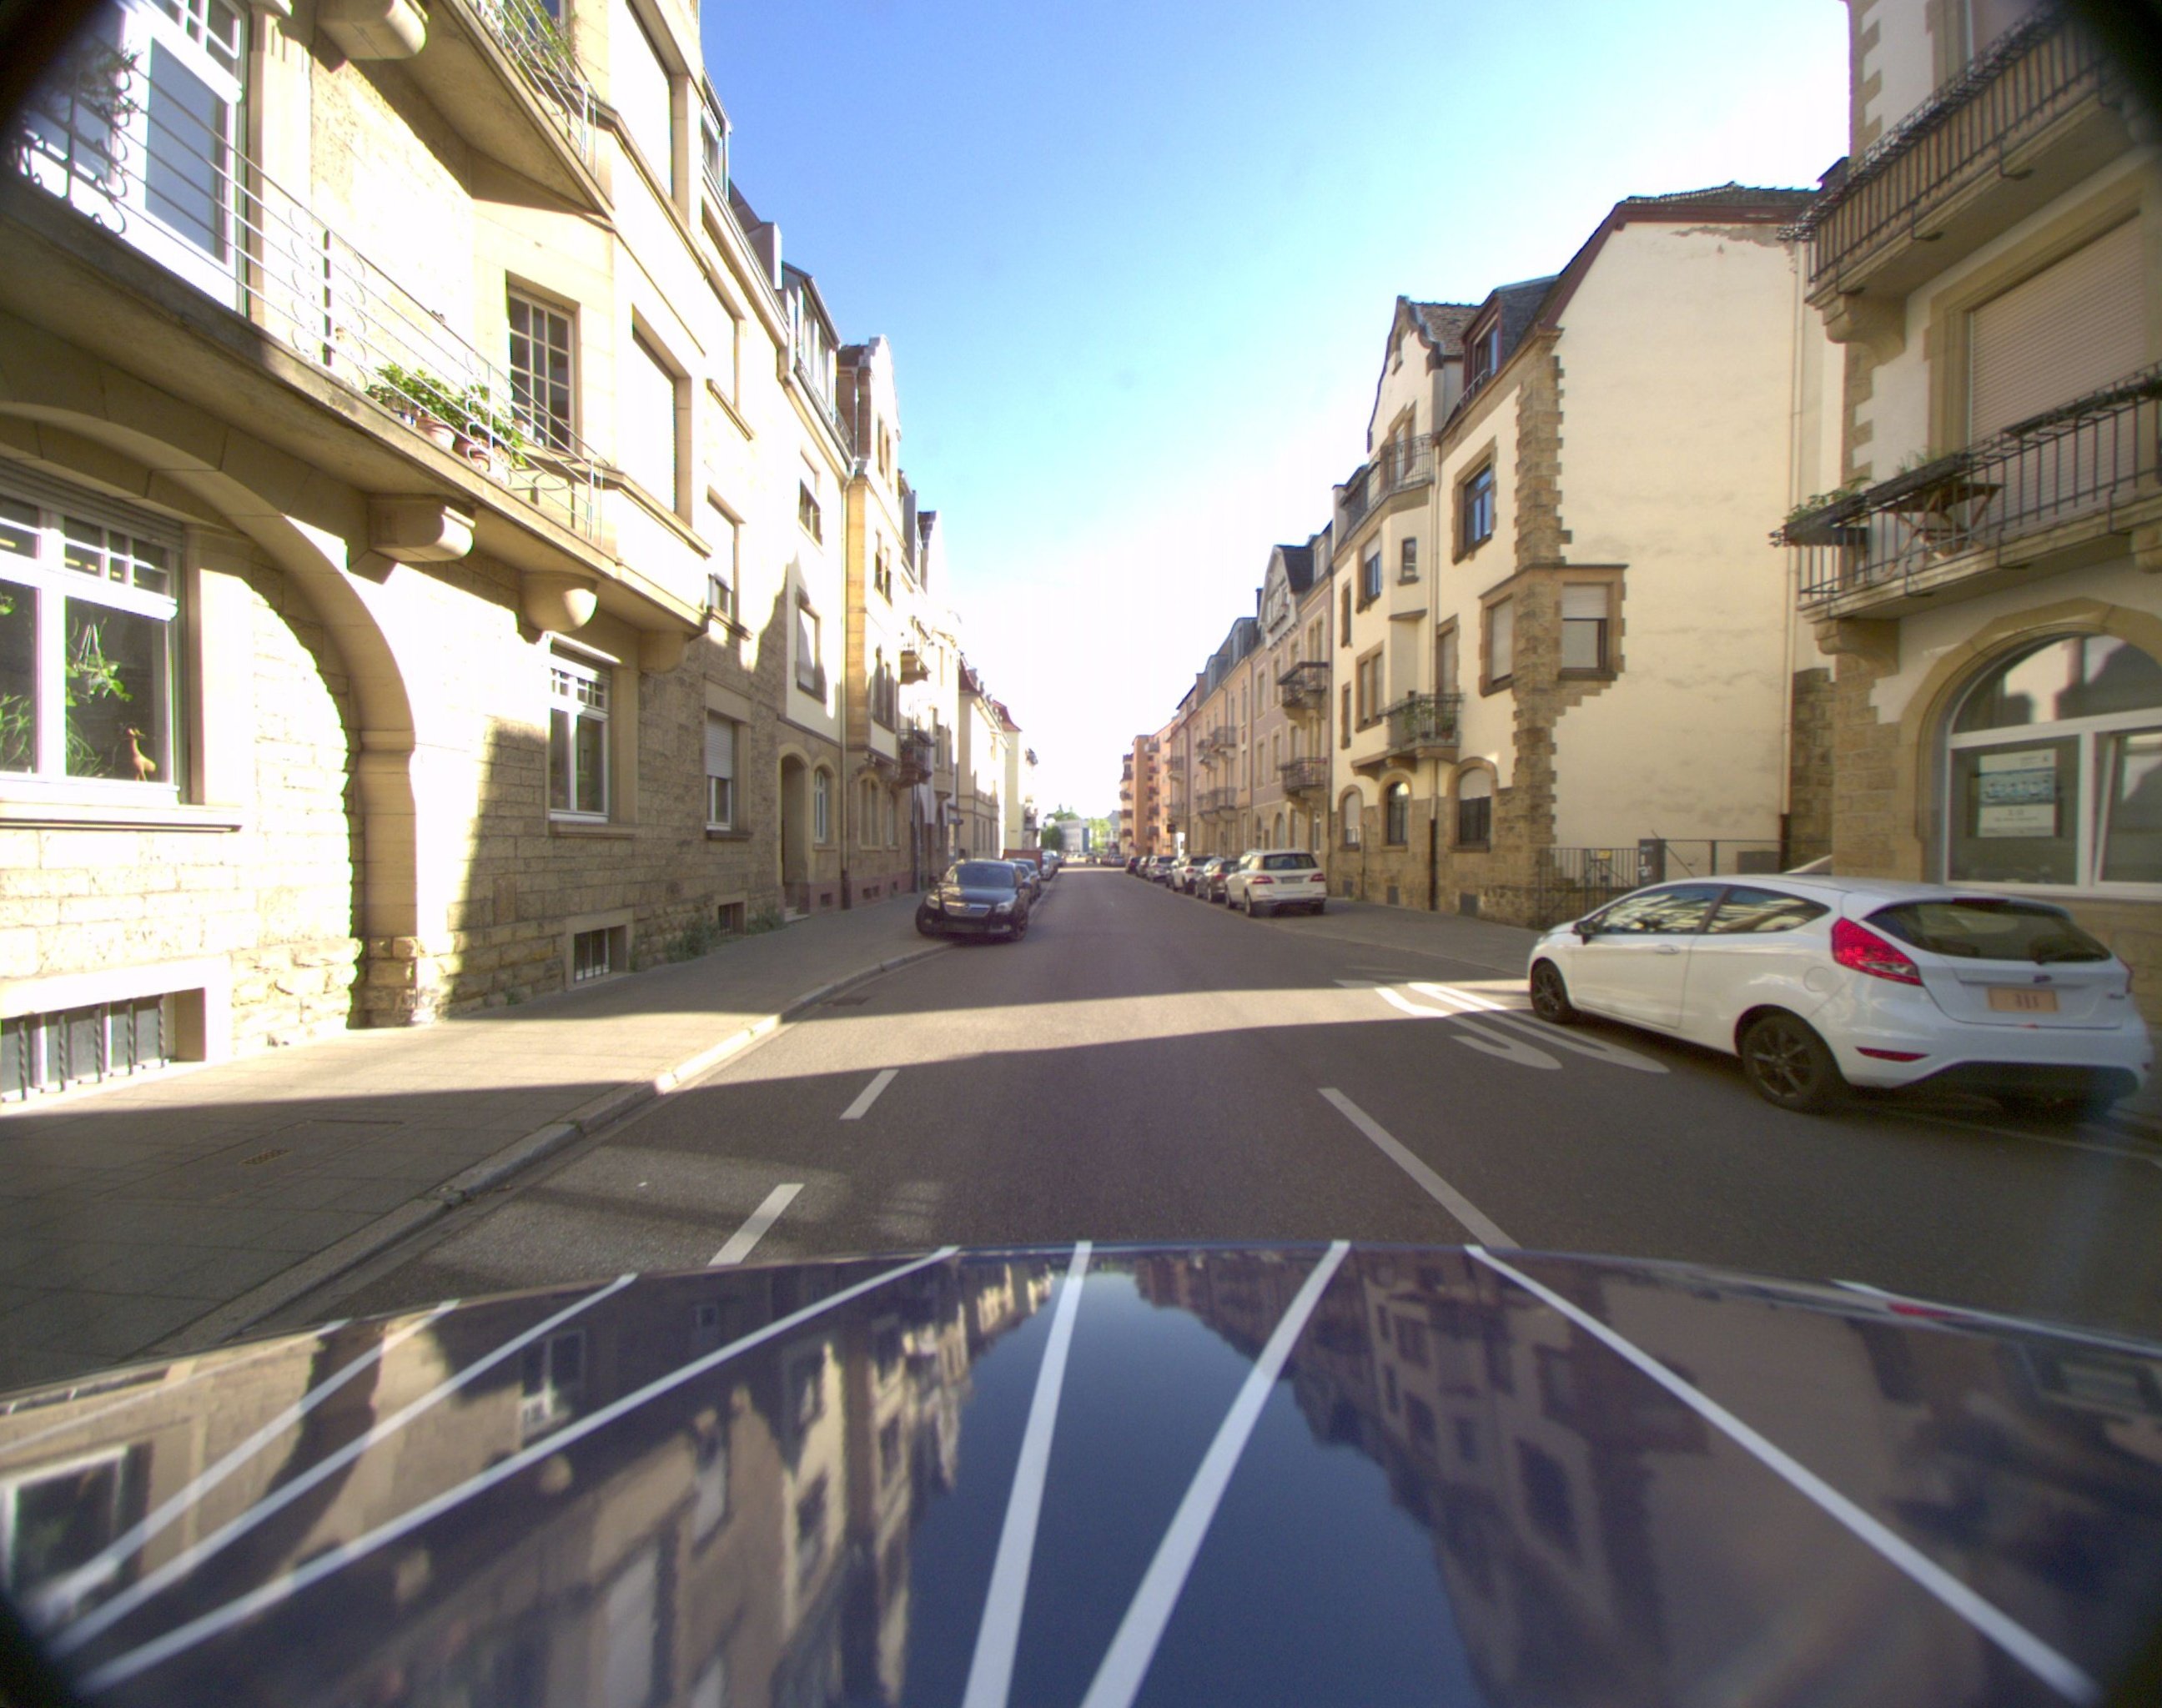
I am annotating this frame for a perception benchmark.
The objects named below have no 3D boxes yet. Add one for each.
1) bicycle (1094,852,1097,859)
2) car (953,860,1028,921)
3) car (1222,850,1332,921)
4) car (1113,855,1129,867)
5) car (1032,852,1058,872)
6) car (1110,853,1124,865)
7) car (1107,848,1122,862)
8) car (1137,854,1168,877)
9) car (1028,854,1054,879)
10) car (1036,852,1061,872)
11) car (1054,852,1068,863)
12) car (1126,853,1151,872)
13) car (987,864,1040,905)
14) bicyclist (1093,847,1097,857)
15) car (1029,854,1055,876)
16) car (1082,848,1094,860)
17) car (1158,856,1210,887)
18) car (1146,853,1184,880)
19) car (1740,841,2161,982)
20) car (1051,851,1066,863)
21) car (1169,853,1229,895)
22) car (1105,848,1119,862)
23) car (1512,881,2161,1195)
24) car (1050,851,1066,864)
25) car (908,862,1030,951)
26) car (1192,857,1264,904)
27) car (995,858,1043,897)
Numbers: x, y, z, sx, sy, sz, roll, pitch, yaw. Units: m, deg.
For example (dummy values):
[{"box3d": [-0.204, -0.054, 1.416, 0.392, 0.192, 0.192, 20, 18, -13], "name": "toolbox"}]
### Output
[{"box3d": [2.298, 0.246, 122.615, 0.541, 1.070, 1.800, 0, 0, 1], "name": "bicycle"}, {"box3d": [-2.385, 0.918, 20.948, 1.655, 1.434, 4.257, 1, 0, -1], "name": "car"}, {"box3d": [5.210, 0.750, 20.898, 1.896, 1.712, 4.726, -1, 0, 1], "name": "car"}, {"box3d": [4.755, 0.848, 91.160, 1.678, 1.414, 3.500, 0, 0, 0], "name": "car"}, {"box3d": [-2.768, 0.597, 59.079, 1.684, 1.537, 3.914, 1, 0, 1], "name": "car"}, {"box3d": [4.534, 0.603, 96.075, 1.678, 1.414, 3.285, 2, 0, 0], "name": "car"}, {"box3d": [4.500, 0.177, 101.939, 1.822, 1.867, 4.111, 0, 0, -1], "name": "car"}, {"box3d": [4.889, 0.748, 52.386, 1.719, 1.512, 4.109, 1, 0, -1], "name": "car"}, {"box3d": [-2.476, 0.741, 47.624, 1.590, 1.456, 3.711, 0, 0, -2], "name": "car"}, {"box3d": [-2.650, 0.633, 63.513, 1.791, 1.655, 4.434, 0, 0, 1], "name": "car"}, {"box3d": [-2.660, 0.403, 99.695, 1.708, 1.417, 3.721, 0, 0, -2], "name": "car"}, {"box3d": [4.718, 0.670, 62.673, 1.719, 1.378, 3.864, -3, 0, 0], "name": "car"}, {"box3d": [-2.270, 0.995, 26.218, 1.697, 1.247, 3.939, 0, 0, -4], "name": "car"}, {"box3d": [2.303, -0.332, 122.625, 0.609, 1.656, 0.632, 0, 1, 0], "name": "bicyclist"}, {"box3d": [-2.674, 0.733, 53.011, 1.657, 1.456, 4.093, 0, 0, -1], "name": "car"}, {"box3d": [1.186, -0.004, 134.059, 1.868, 1.925, 4.598, 0, 0, -3], "name": "car"}, {"box3d": [5.036, 0.828, 37.564, 1.677, 1.385, 3.664, -3, 0, -5], "name": "car"}, {"box3d": [4.997, 0.727, 45.694, 1.719, 1.529, 3.722, -1, 0, -2], "name": "car"}, {"box3d": [11.833, 0.714, 10.377, 3.978, 1.718, 1.909, 0, 0, 0], "name": "car"}, {"box3d": [-2.765, 0.332, 93.346, 1.708, 1.417, 3.721, 1, 1, -1], "name": "car"}, {"box3d": [4.918, 0.772, 32.180, 1.719, 1.574, 4.019, -3, 0, -2], "name": "car"}, {"box3d": [4.362, 0.154, 107.893, 1.822, 1.867, 4.111, 0, 0, 0], "name": "car"}, {"box3d": [5.104, 1.010, 5.774, 1.637, 1.455, 3.735, 0, 1, 2], "name": "car"}, {"box3d": [-2.622, 0.378, 87.882, 1.708, 1.417, 3.721, 1, 1, -1], "name": "car"}, {"box3d": [-2.068, 0.924, 15.260, 1.870, 1.453, 4.338, 0, 0, -1], "name": "car"}, {"box3d": [5.078, 0.865, 26.751, 1.578, 1.479, 4.279, -2, 0, -2], "name": "car"}, {"box3d": [-2.466, 0.883, 30.487, 1.791, 1.421, 3.806, 0, 0, -4], "name": "car"}]
